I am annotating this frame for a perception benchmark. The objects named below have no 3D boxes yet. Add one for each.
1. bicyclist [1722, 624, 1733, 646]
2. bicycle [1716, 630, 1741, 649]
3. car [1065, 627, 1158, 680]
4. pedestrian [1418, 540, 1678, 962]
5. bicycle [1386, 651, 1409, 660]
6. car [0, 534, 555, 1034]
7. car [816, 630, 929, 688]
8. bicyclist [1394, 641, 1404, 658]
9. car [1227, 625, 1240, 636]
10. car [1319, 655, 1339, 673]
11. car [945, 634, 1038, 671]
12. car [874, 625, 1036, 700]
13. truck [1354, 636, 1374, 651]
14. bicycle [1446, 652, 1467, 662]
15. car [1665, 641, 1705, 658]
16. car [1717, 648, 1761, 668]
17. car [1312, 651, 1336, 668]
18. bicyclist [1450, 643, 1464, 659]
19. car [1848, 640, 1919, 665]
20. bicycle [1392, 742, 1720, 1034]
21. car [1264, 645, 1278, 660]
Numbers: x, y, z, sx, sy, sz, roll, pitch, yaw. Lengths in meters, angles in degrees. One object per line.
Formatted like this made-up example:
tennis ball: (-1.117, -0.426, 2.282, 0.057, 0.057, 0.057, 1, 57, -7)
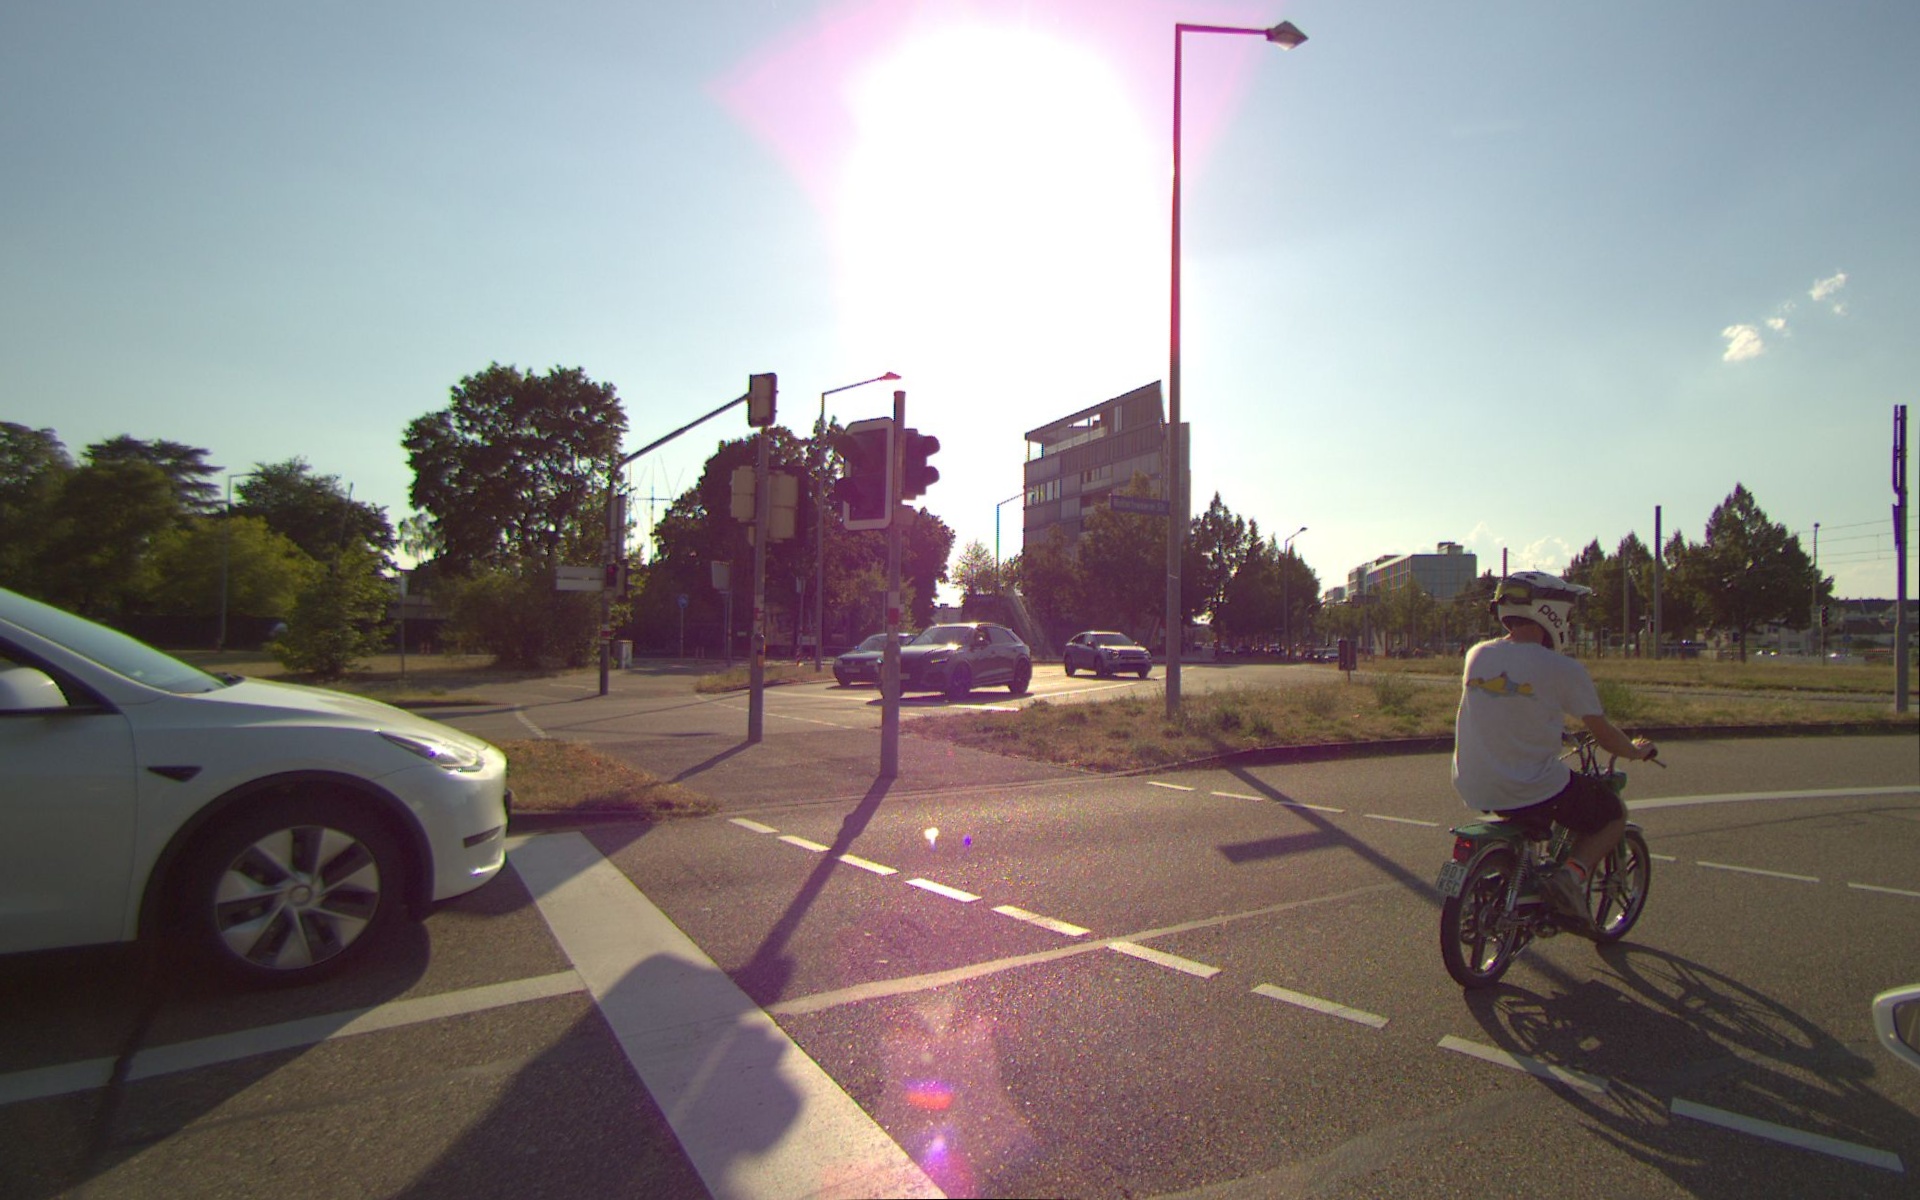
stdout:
bicyclist: (60.129, 2.755, 78.688, 0.600, 1.694, 0.475, 0, -3, 44)
bicycle: (60.165, 3.109, 78.628, 1.523, 1.493, 0.477, -1, -2, 44)
car: (5.090, 1.790, 34.341, 1.746, 1.695, 4.190, 1, -2, -13)
pedestrian: (2.448, 0.568, 4.191, 0.846, 1.539, 0.651, 2, -2, -35)
bicycle: (36.340, 4.600, 83.446, 1.687, 0.754, 0.481, 0, -2, 13)
car: (-4.101, 0.575, 3.594, 4.632, 1.620, 1.723, 2, -1, -36)
car: (-2.411, 1.660, 28.677, 1.621, 1.532, 3.827, -1, -3, 23)
bicyclist: (36.459, 4.101, 83.431, 0.641, 1.343, 0.519, 0, -2, 13)
car: (43.488, 4.794, 159.849, 1.753, 1.576, 4.002, 2, 0, 13)
car: (33.842, 5.843, 92.089, 1.455, 1.495, 3.302, 0, -2, 16)
car: (1.395, 2.295, 44.568, 3.879, 1.545, 1.651, -1, -2, 36)
car: (0.024, 1.389, 22.953, 1.623, 1.532, 4.637, -1, -3, 30)
truck: (90.795, 9.827, 225.729, 3.074, 3.273, 7.179, 0, -2, 13)
bicycle: (42.199, 4.834, 85.380, 1.587, 0.871, 0.545, 0, -1, 15)
car: (86.468, 5.883, 119.837, 1.960, 2.040, 4.002, 1, -2, 4)
car: (86.238, 6.401, 111.305, 1.960, 2.040, 4.002, 1, -2, 4)
car: (35.901, 5.864, 99.244, 1.960, 1.495, 4.002, 0, -2, 16)
bicyclist: (42.281, 4.329, 85.414, 0.938, 1.375, 0.694, 0, -2, 13)
car: (72.907, 4.130, 79.190, 3.927, 1.839, 1.998, 0, -2, 28)
bicycle: (2.589, 1.117, 4.270, 1.837, 0.887, 0.474, 2, -2, -34)
car: (49.209, 8.291, 158.990, 1.960, 2.040, 4.002, 2, 0, 16)
